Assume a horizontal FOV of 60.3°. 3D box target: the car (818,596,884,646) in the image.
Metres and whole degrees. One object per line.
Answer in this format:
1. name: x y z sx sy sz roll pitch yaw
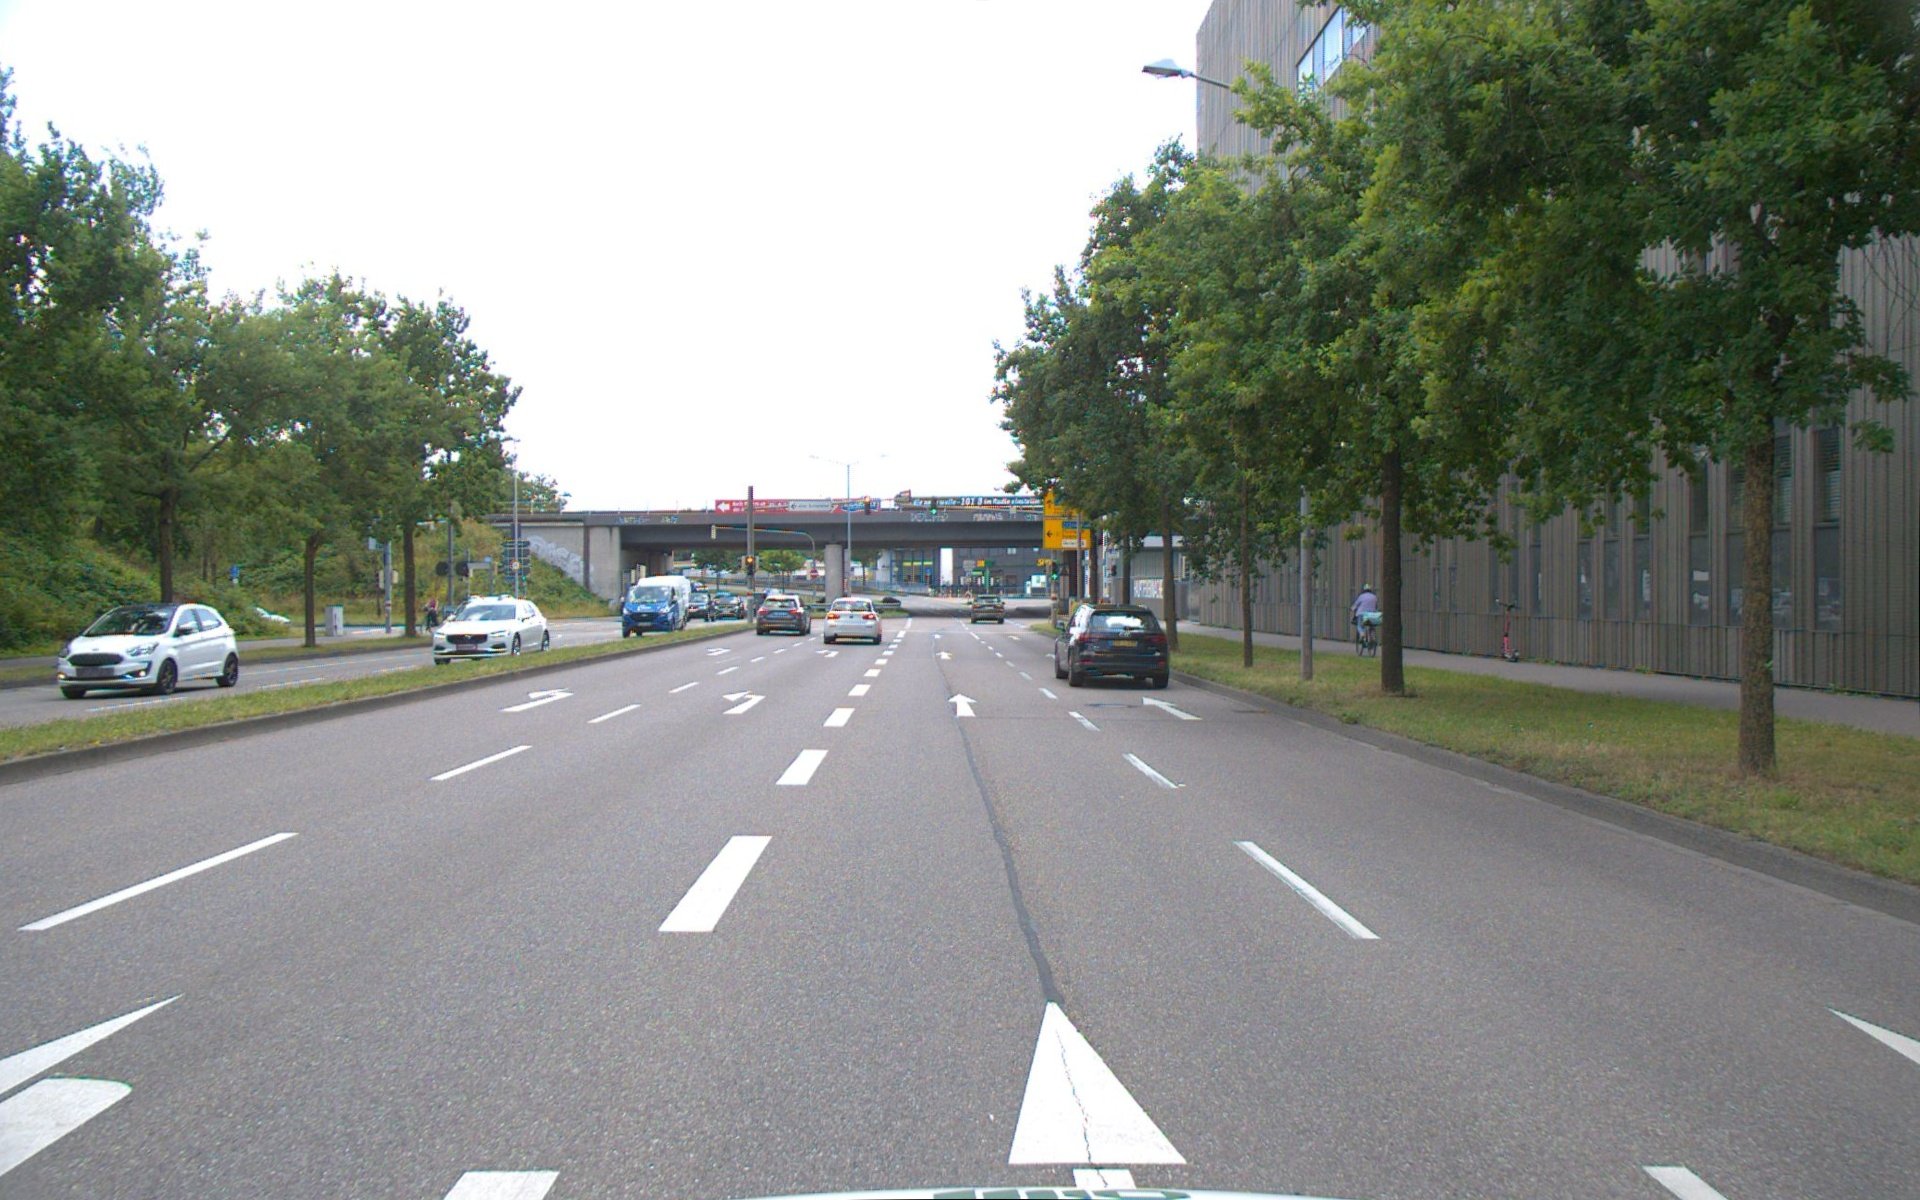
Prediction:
1. car: -3.449 0.631 52.991 1.876 1.439 4.294 3 0 -1

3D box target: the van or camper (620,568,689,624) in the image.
1. van or camper: -14.944 -0.202 81.239 2.304 2.584 7.061 1 0 -2

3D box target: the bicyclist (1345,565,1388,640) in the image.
1. bicyclist: 9.805 0.059 39.927 0.701 1.800 0.987 -1 0 -5

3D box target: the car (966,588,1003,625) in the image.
1. car: 1.370 0.365 94.353 1.953 2.073 4.712 -1 0 -1

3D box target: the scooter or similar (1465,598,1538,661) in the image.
1. scooter or similar: 11.460 0.611 35.086 0.690 1.268 2.479 -1 0 -1

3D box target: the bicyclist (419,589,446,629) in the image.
1. bicyclist: -23.974 0.416 75.175 0.874 1.778 0.997 1 0 -1

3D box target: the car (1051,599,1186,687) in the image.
1. car: 2.833 0.733 30.525 1.953 1.414 4.575 1 1 -1

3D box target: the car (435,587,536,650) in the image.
1. car: -14.506 0.529 50.794 1.953 1.833 4.407 -1 0 -2

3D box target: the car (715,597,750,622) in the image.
1. car: -15.139 0.623 110.113 1.769 1.661 4.391 0 0 -1

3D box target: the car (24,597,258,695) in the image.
1. car: -13.855 0.725 28.302 1.876 1.468 4.413 -2 0 -2

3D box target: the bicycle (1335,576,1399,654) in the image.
1. bicycle: 9.808 0.347 39.961 0.705 1.805 2.531 -1 0 -5

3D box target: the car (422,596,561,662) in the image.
1. car: -11.125 0.646 39.677 1.953 1.456 5.023 -1 0 -1

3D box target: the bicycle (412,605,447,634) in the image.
1. bicycle: -24.068 0.879 75.124 0.805 1.292 2.393 1 0 0

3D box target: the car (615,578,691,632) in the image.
1. car: -11.939 0.164 64.631 2.146 1.998 5.191 -1 0 -2

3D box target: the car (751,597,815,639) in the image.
1. car: -6.549 0.638 61.694 1.953 1.440 4.831 1 0 -1

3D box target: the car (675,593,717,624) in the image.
1. car: -15.634 0.501 98.032 1.953 1.797 4.218 -1 0 -2
